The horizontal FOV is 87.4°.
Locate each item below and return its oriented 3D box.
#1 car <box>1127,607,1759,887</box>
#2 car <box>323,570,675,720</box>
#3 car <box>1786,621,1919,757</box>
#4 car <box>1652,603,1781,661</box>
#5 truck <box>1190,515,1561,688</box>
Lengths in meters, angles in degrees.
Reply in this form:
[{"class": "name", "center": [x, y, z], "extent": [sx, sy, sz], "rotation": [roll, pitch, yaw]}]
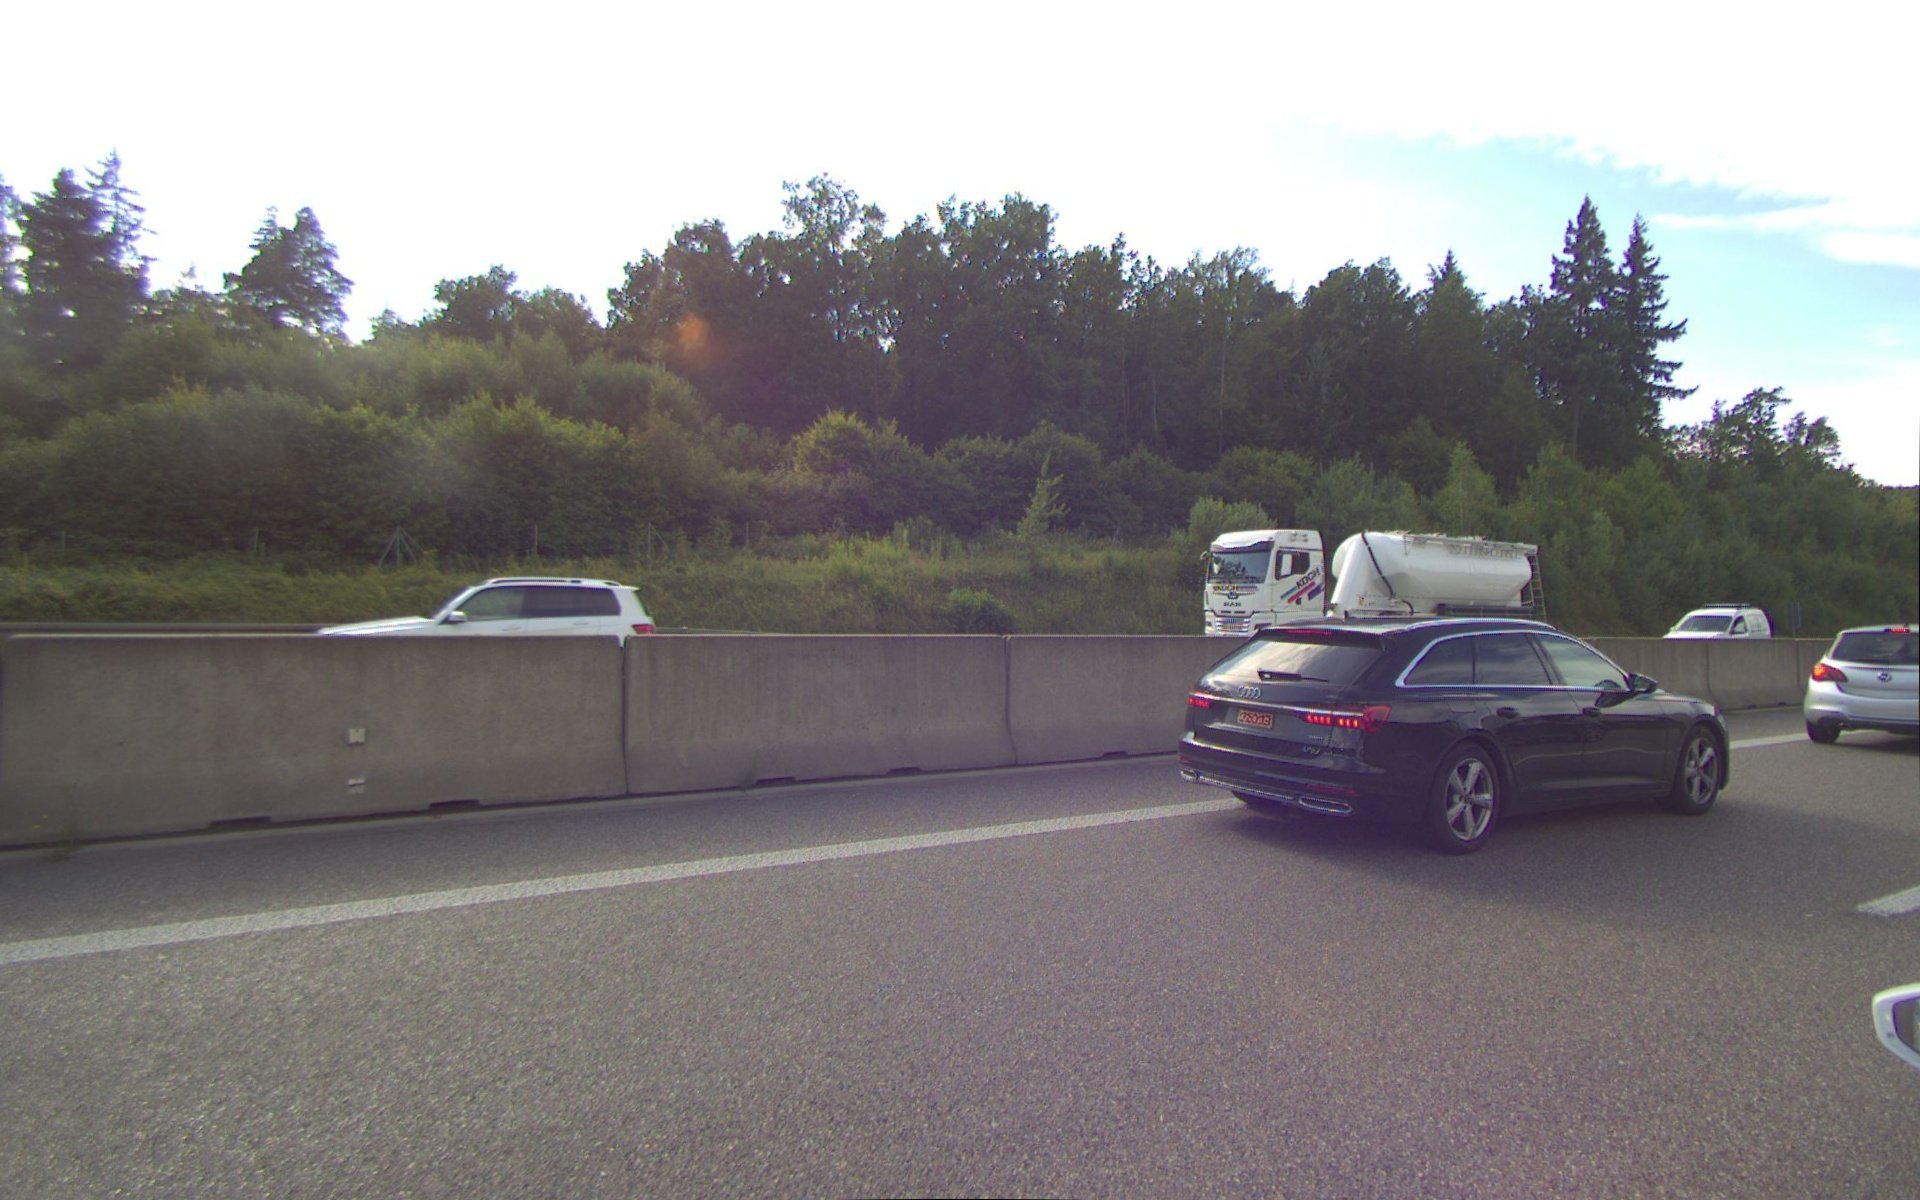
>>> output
[{"class": "car", "center": [3.722, 0.853, 7.489], "extent": [4.794, 1.491, 1.873], "rotation": [1, 0, -30]}, {"class": "car", "center": [-6.424, 0.584, 14.206], "extent": [4.275, 1.834, 1.842], "rotation": [1, 0, -32]}, {"class": "car", "center": [12.155, 1.027, 12.458], "extent": [3.995, 1.485, 1.738], "rotation": [1, -1, -31]}, {"class": "car", "center": [24.242, 1.008, 32.149], "extent": [4.275, 1.735, 1.842], "rotation": [1, 0, -32]}, {"class": "truck", "center": [13.102, 0.215, 30.599], "extent": [13.756, 4.412, 2.916], "rotation": [2, 0, -32]}]
